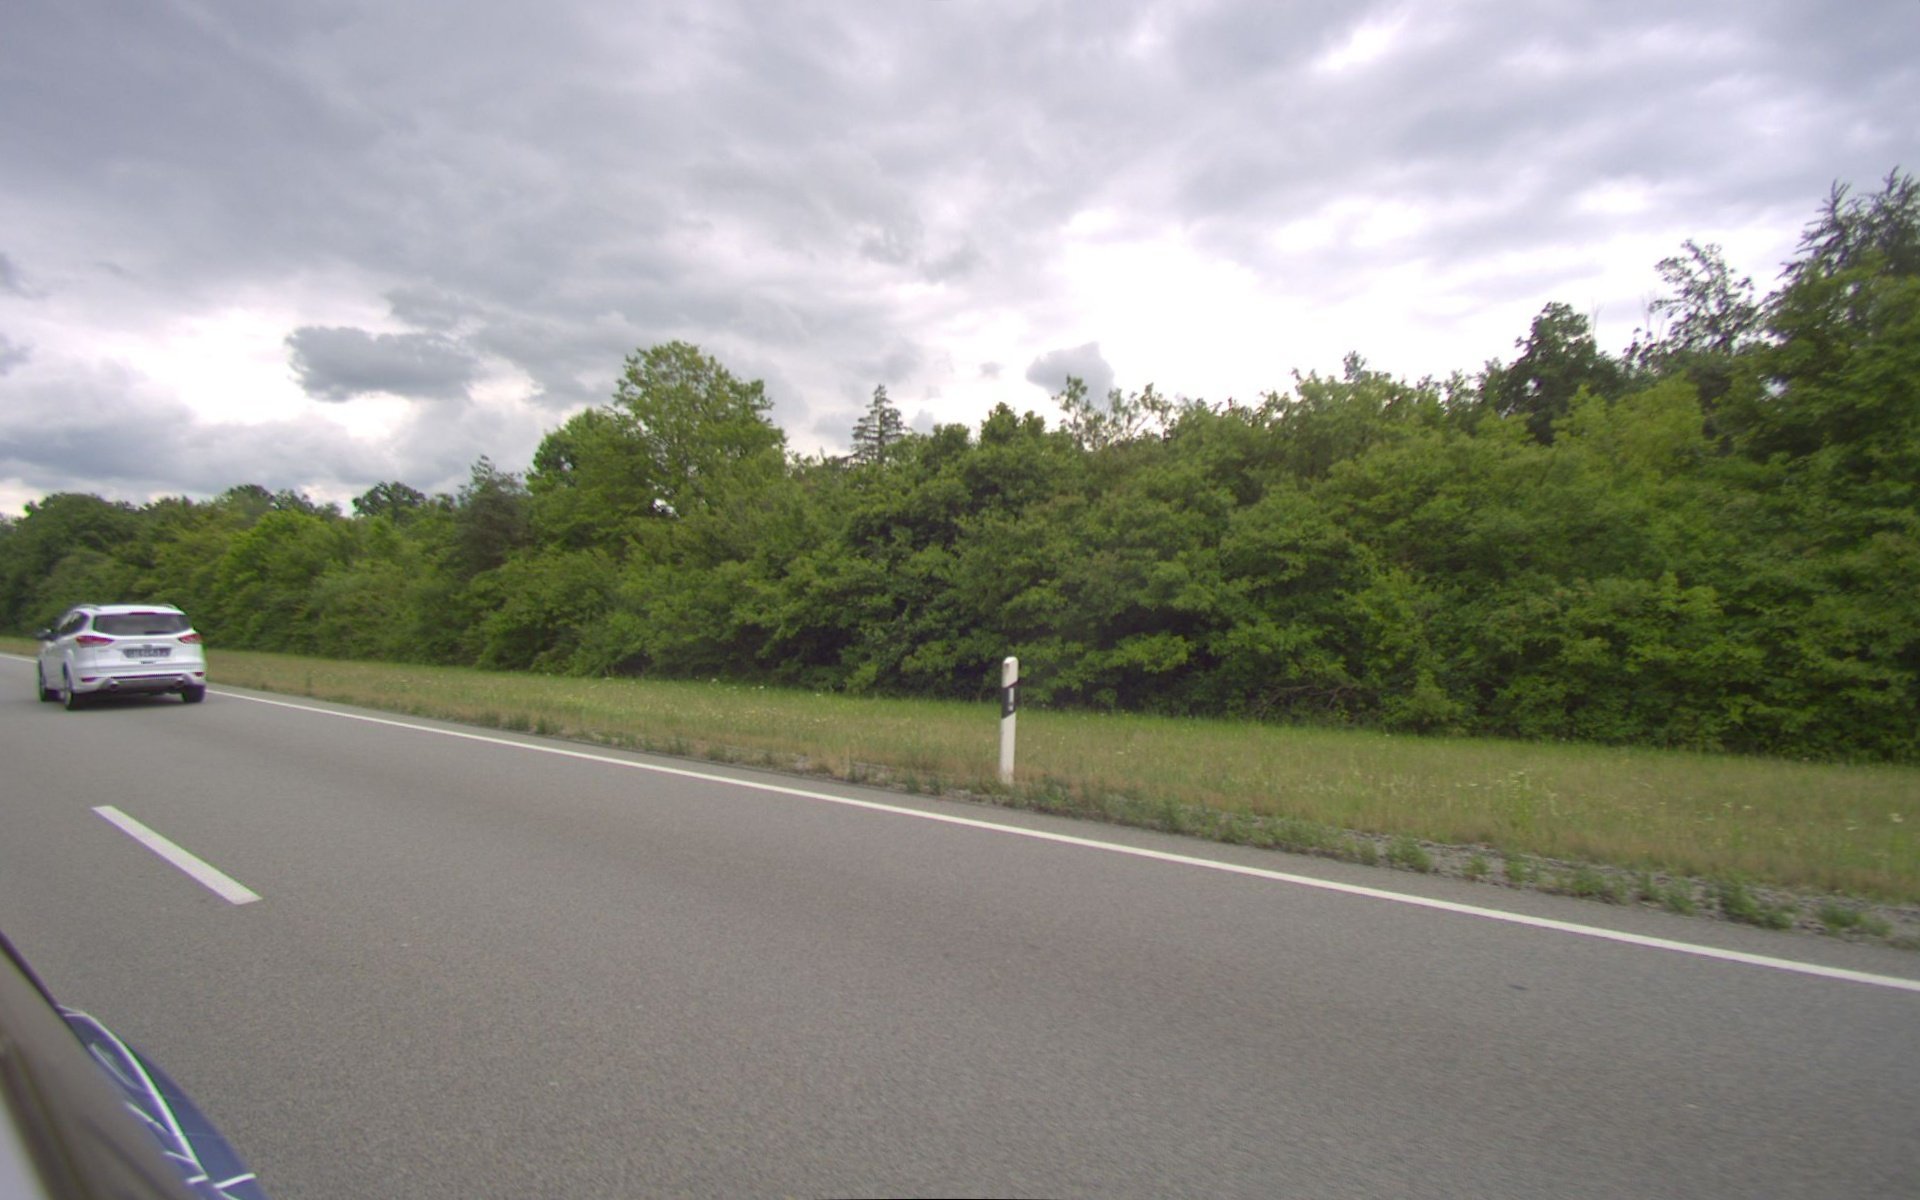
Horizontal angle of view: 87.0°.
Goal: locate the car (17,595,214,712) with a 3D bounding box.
[{"bbox_3d":[-14.898,0.853,17.754,4.609,1.794,1.894,-1,-1,40],"label":"car"}]
